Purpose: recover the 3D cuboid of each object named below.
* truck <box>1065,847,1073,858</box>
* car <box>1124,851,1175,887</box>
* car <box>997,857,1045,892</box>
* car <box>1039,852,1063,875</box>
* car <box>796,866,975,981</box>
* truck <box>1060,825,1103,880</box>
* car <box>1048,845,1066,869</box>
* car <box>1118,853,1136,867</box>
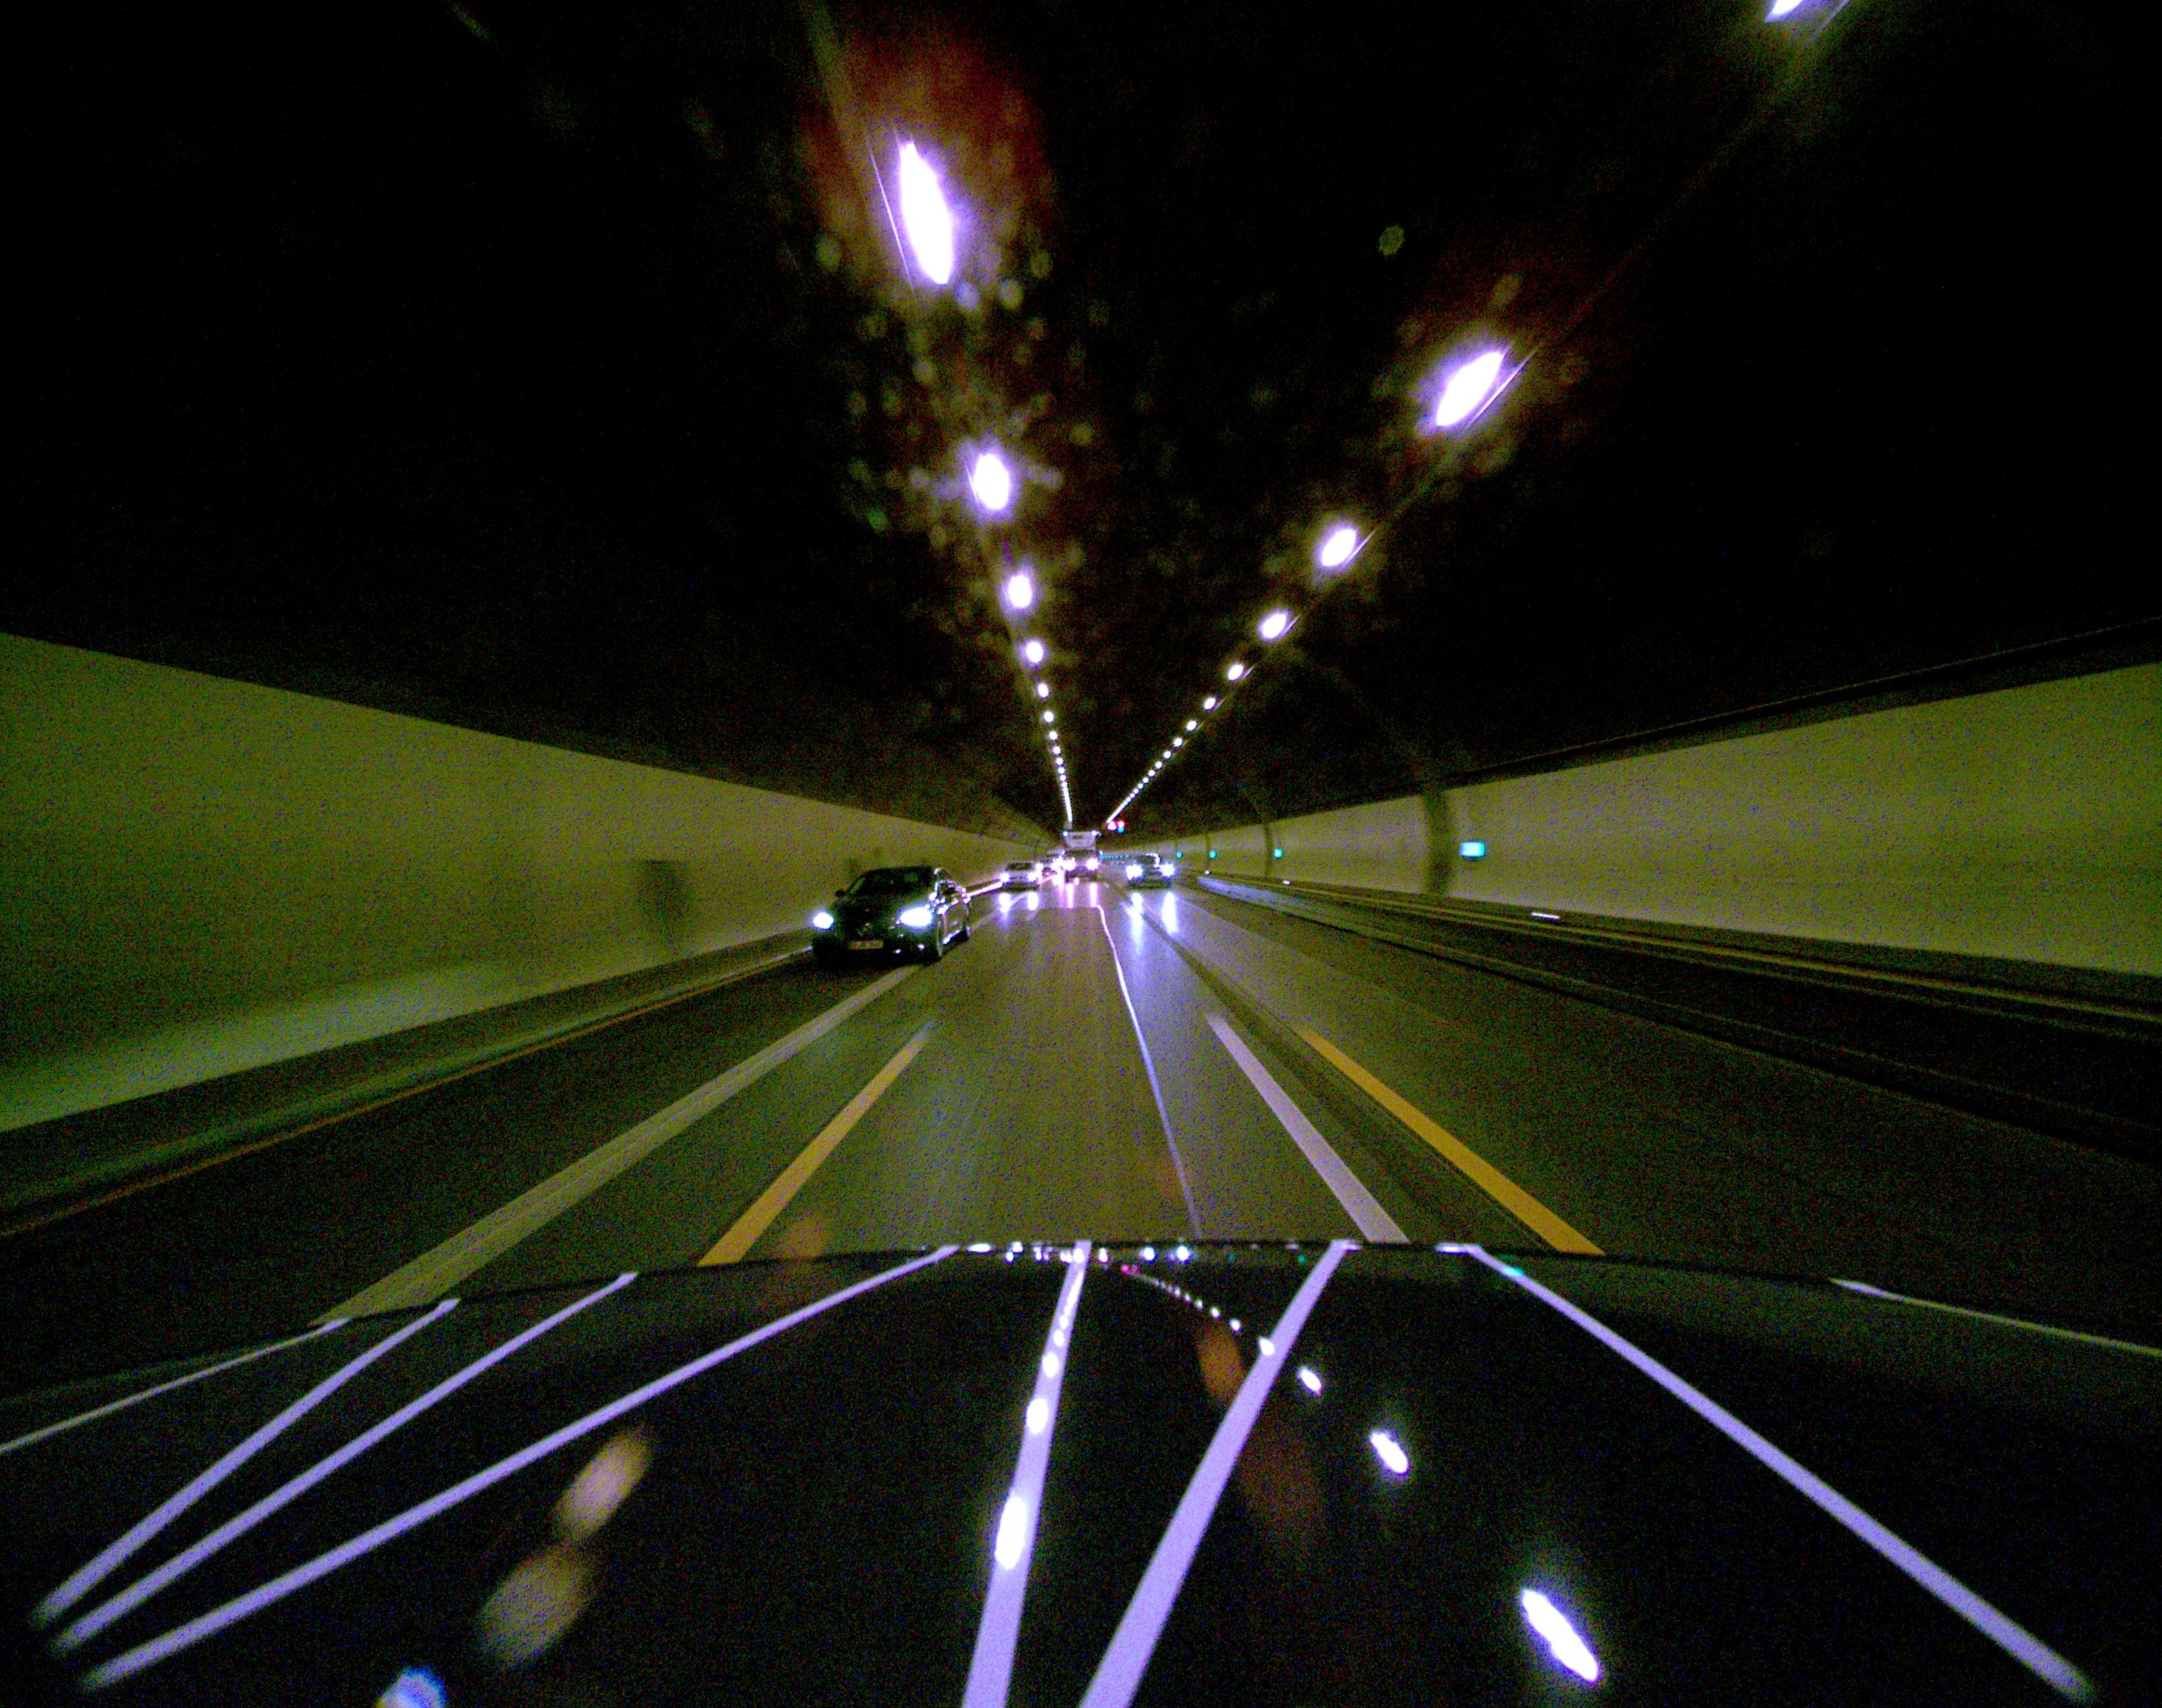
[{"bbox_3d":[-4.160,-0.433,261.327,2.208,3.449,11.763,-2,0,-1],"label":"truck"},{"bbox_3d":[3.214,0.663,36.644,1.998,1.531,4.742,-2,1,0],"label":"car"},{"bbox_3d":[-2.958,0.970,38.445,1.998,1.531,4.742,-2,1,0],"label":"car"},{"bbox_3d":[-2.775,0.884,70.824,1.999,2.002,4.853,-2,0,-1],"label":"car"},{"bbox_3d":[-3.063,1.011,12.962,1.825,1.469,4.521,-2,0,0],"label":"car"},{"bbox_3d":[0.028,-0.101,50.824,2.533,3.314,7.715,-2,0,0],"label":"truck"},{"bbox_3d":[-2.938,0.319,94.061,1.998,2.710,6.273,-2,1,0],"label":"car"},{"bbox_3d":[5.650,0.720,93.186,1.998,1.531,4.852,-2,1,4],"label":"car"}]
